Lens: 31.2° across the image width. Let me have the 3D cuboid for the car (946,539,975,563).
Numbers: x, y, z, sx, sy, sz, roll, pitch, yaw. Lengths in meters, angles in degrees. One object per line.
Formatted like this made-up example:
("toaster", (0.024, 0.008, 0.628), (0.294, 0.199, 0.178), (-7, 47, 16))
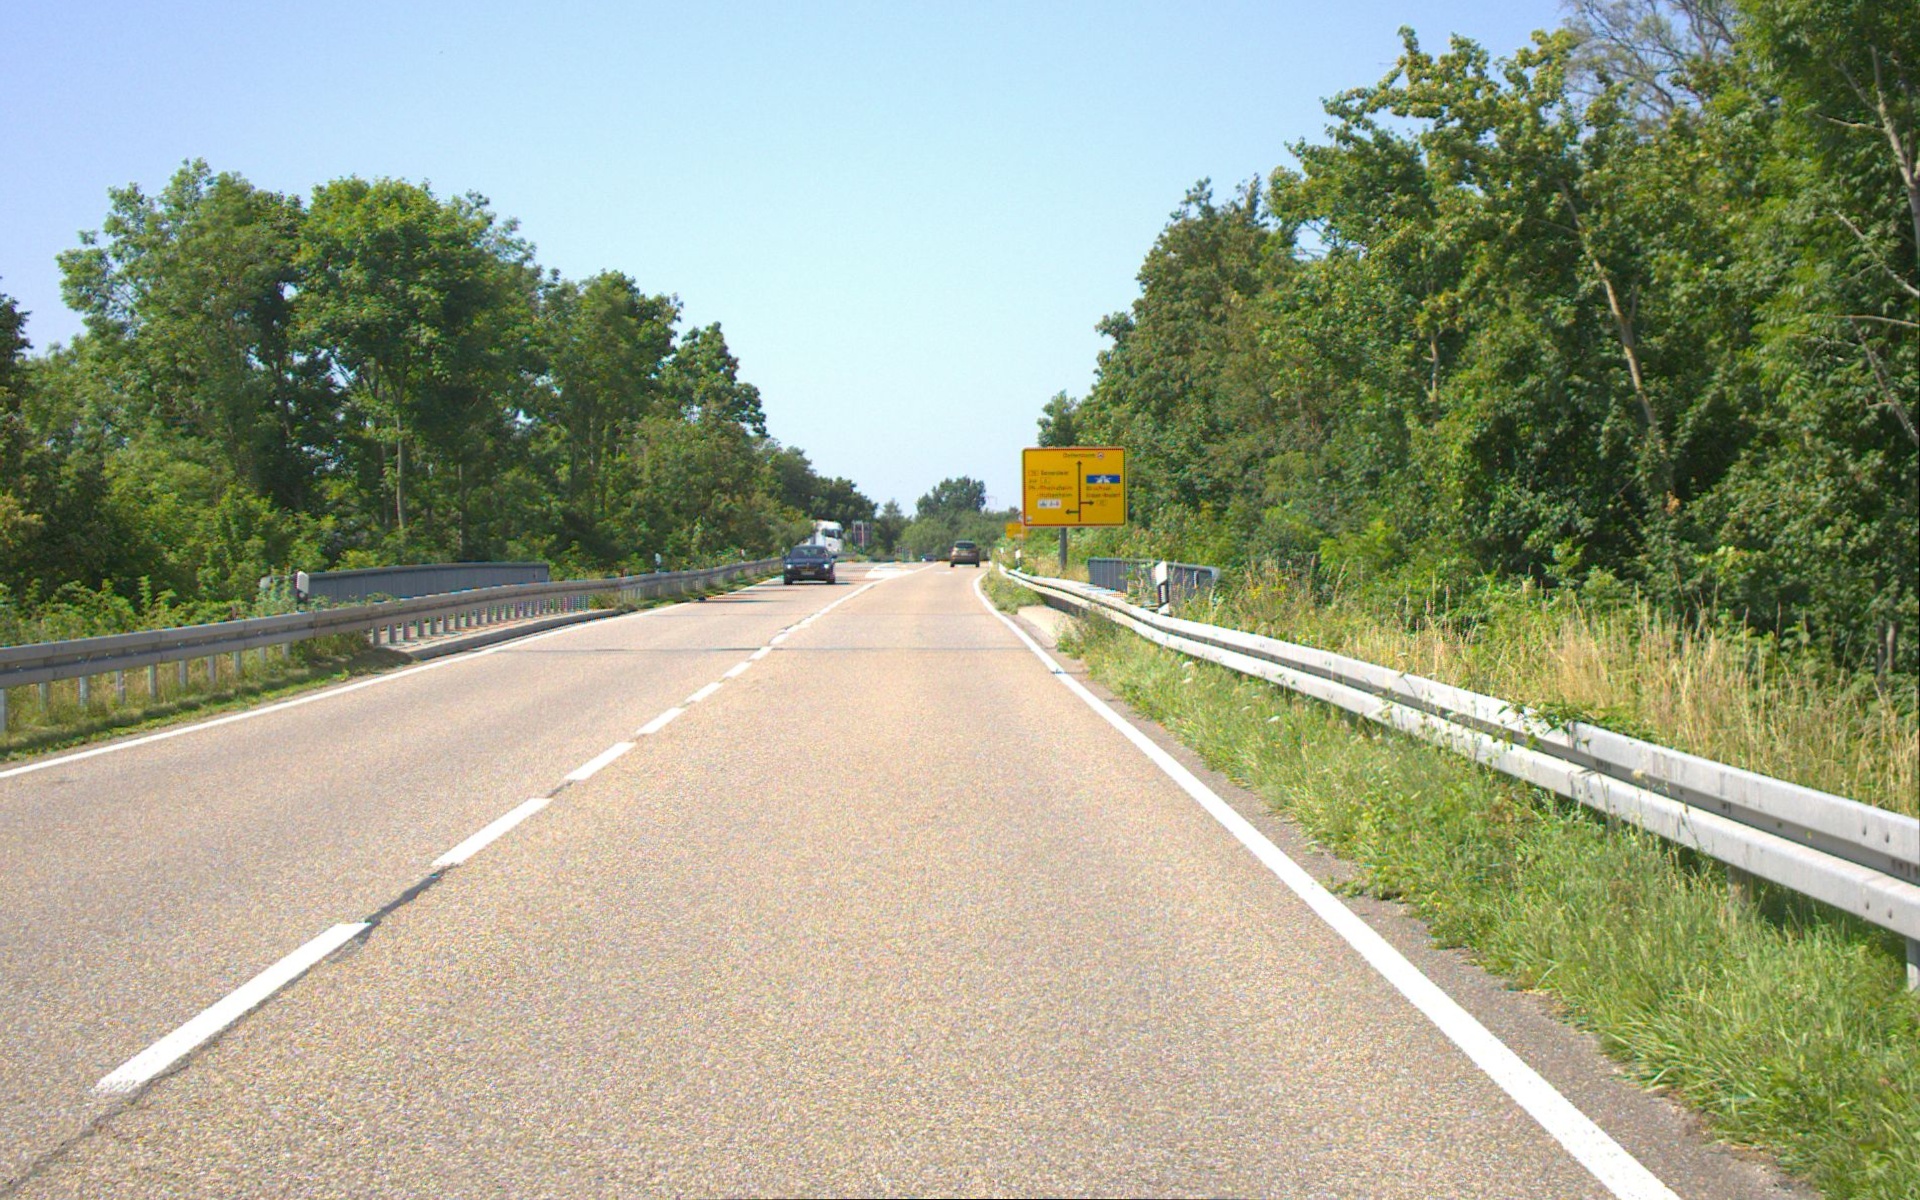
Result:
("car", (0.035, -2.980, 208.028), (1.741, 1.465, 3.692), (0, 1, 1))

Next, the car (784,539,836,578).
("car", (-5.628, -1.573, 129.430), (1.746, 1.420, 4.677), (0, 1, 0))
